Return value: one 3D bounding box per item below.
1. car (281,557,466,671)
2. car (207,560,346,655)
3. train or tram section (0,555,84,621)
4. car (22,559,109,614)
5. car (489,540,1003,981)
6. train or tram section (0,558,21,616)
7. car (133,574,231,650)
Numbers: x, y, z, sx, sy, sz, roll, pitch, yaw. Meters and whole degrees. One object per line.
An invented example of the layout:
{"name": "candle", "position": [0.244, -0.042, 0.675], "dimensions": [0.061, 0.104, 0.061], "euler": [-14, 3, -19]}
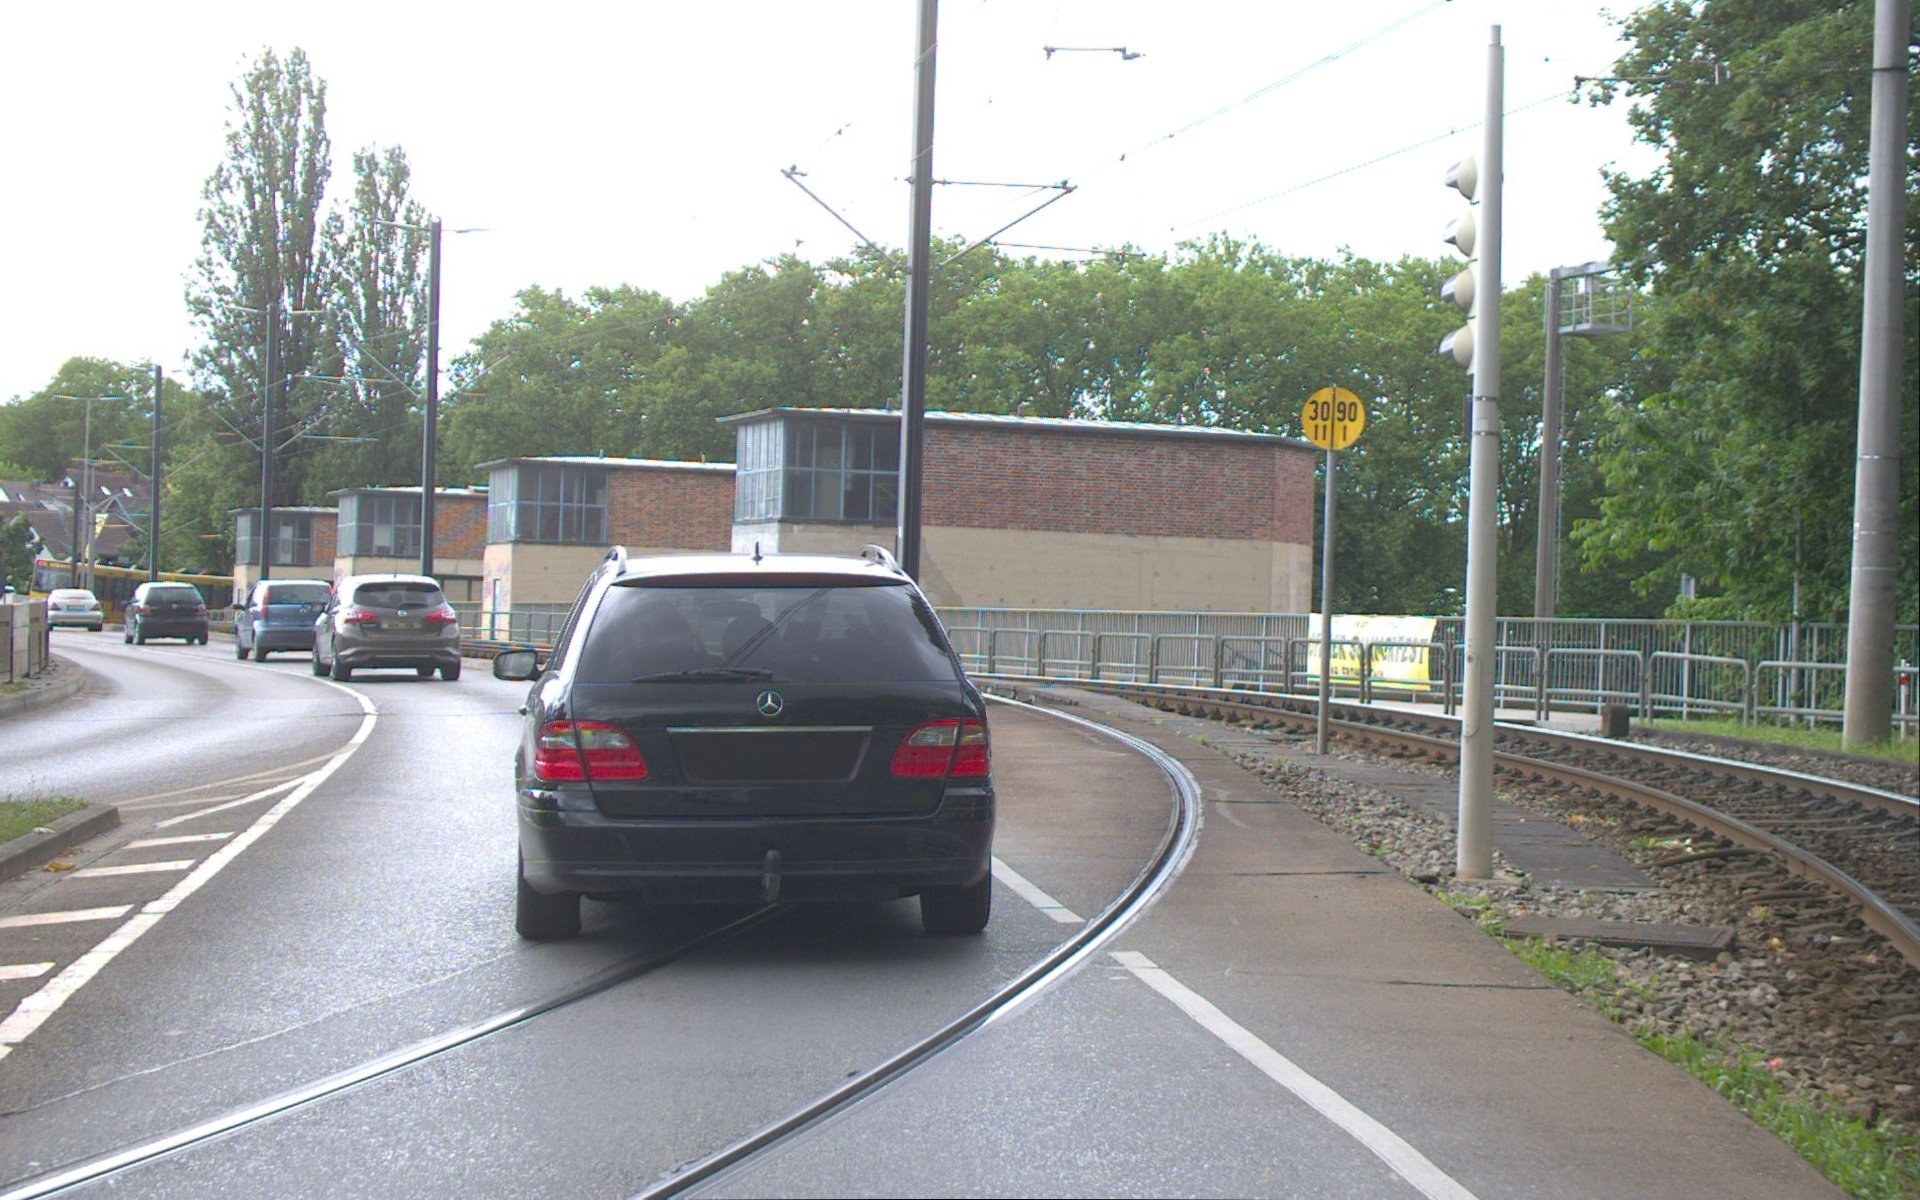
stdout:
{"name": "car", "position": [-8.562, 0.188, 49.907], "dimensions": [1.770, 1.550, 4.242], "euler": [2, 0, -22]}
{"name": "car", "position": [-12.622, 0.101, 63.245], "dimensions": [1.993, 1.559, 4.999], "euler": [-1, 2, -17]}
{"name": "train or tram section", "position": [-51.044, -0.658, 190.649], "dimensions": [2.881, 3.497, 18.671], "euler": [0, 0, -20]}
{"name": "car", "position": [-27.712, -0.421, 106.371], "dimensions": [1.993, 1.565, 4.907], "euler": [3, 0, -21]}
{"name": "car", "position": [-0.886, 0.524, 14.145], "dimensions": [1.759, 1.510, 4.443], "euler": [1, 1, -4]}
{"name": "train or tram section", "position": [-64.130, -0.765, 226.292], "dimensions": [2.784, 3.643, 19.897], "euler": [0, 0, -20]}
{"name": "car", "position": [-18.300, 0.260, 80.731], "dimensions": [1.993, 1.667, 4.542], "euler": [0, 1, -16]}
